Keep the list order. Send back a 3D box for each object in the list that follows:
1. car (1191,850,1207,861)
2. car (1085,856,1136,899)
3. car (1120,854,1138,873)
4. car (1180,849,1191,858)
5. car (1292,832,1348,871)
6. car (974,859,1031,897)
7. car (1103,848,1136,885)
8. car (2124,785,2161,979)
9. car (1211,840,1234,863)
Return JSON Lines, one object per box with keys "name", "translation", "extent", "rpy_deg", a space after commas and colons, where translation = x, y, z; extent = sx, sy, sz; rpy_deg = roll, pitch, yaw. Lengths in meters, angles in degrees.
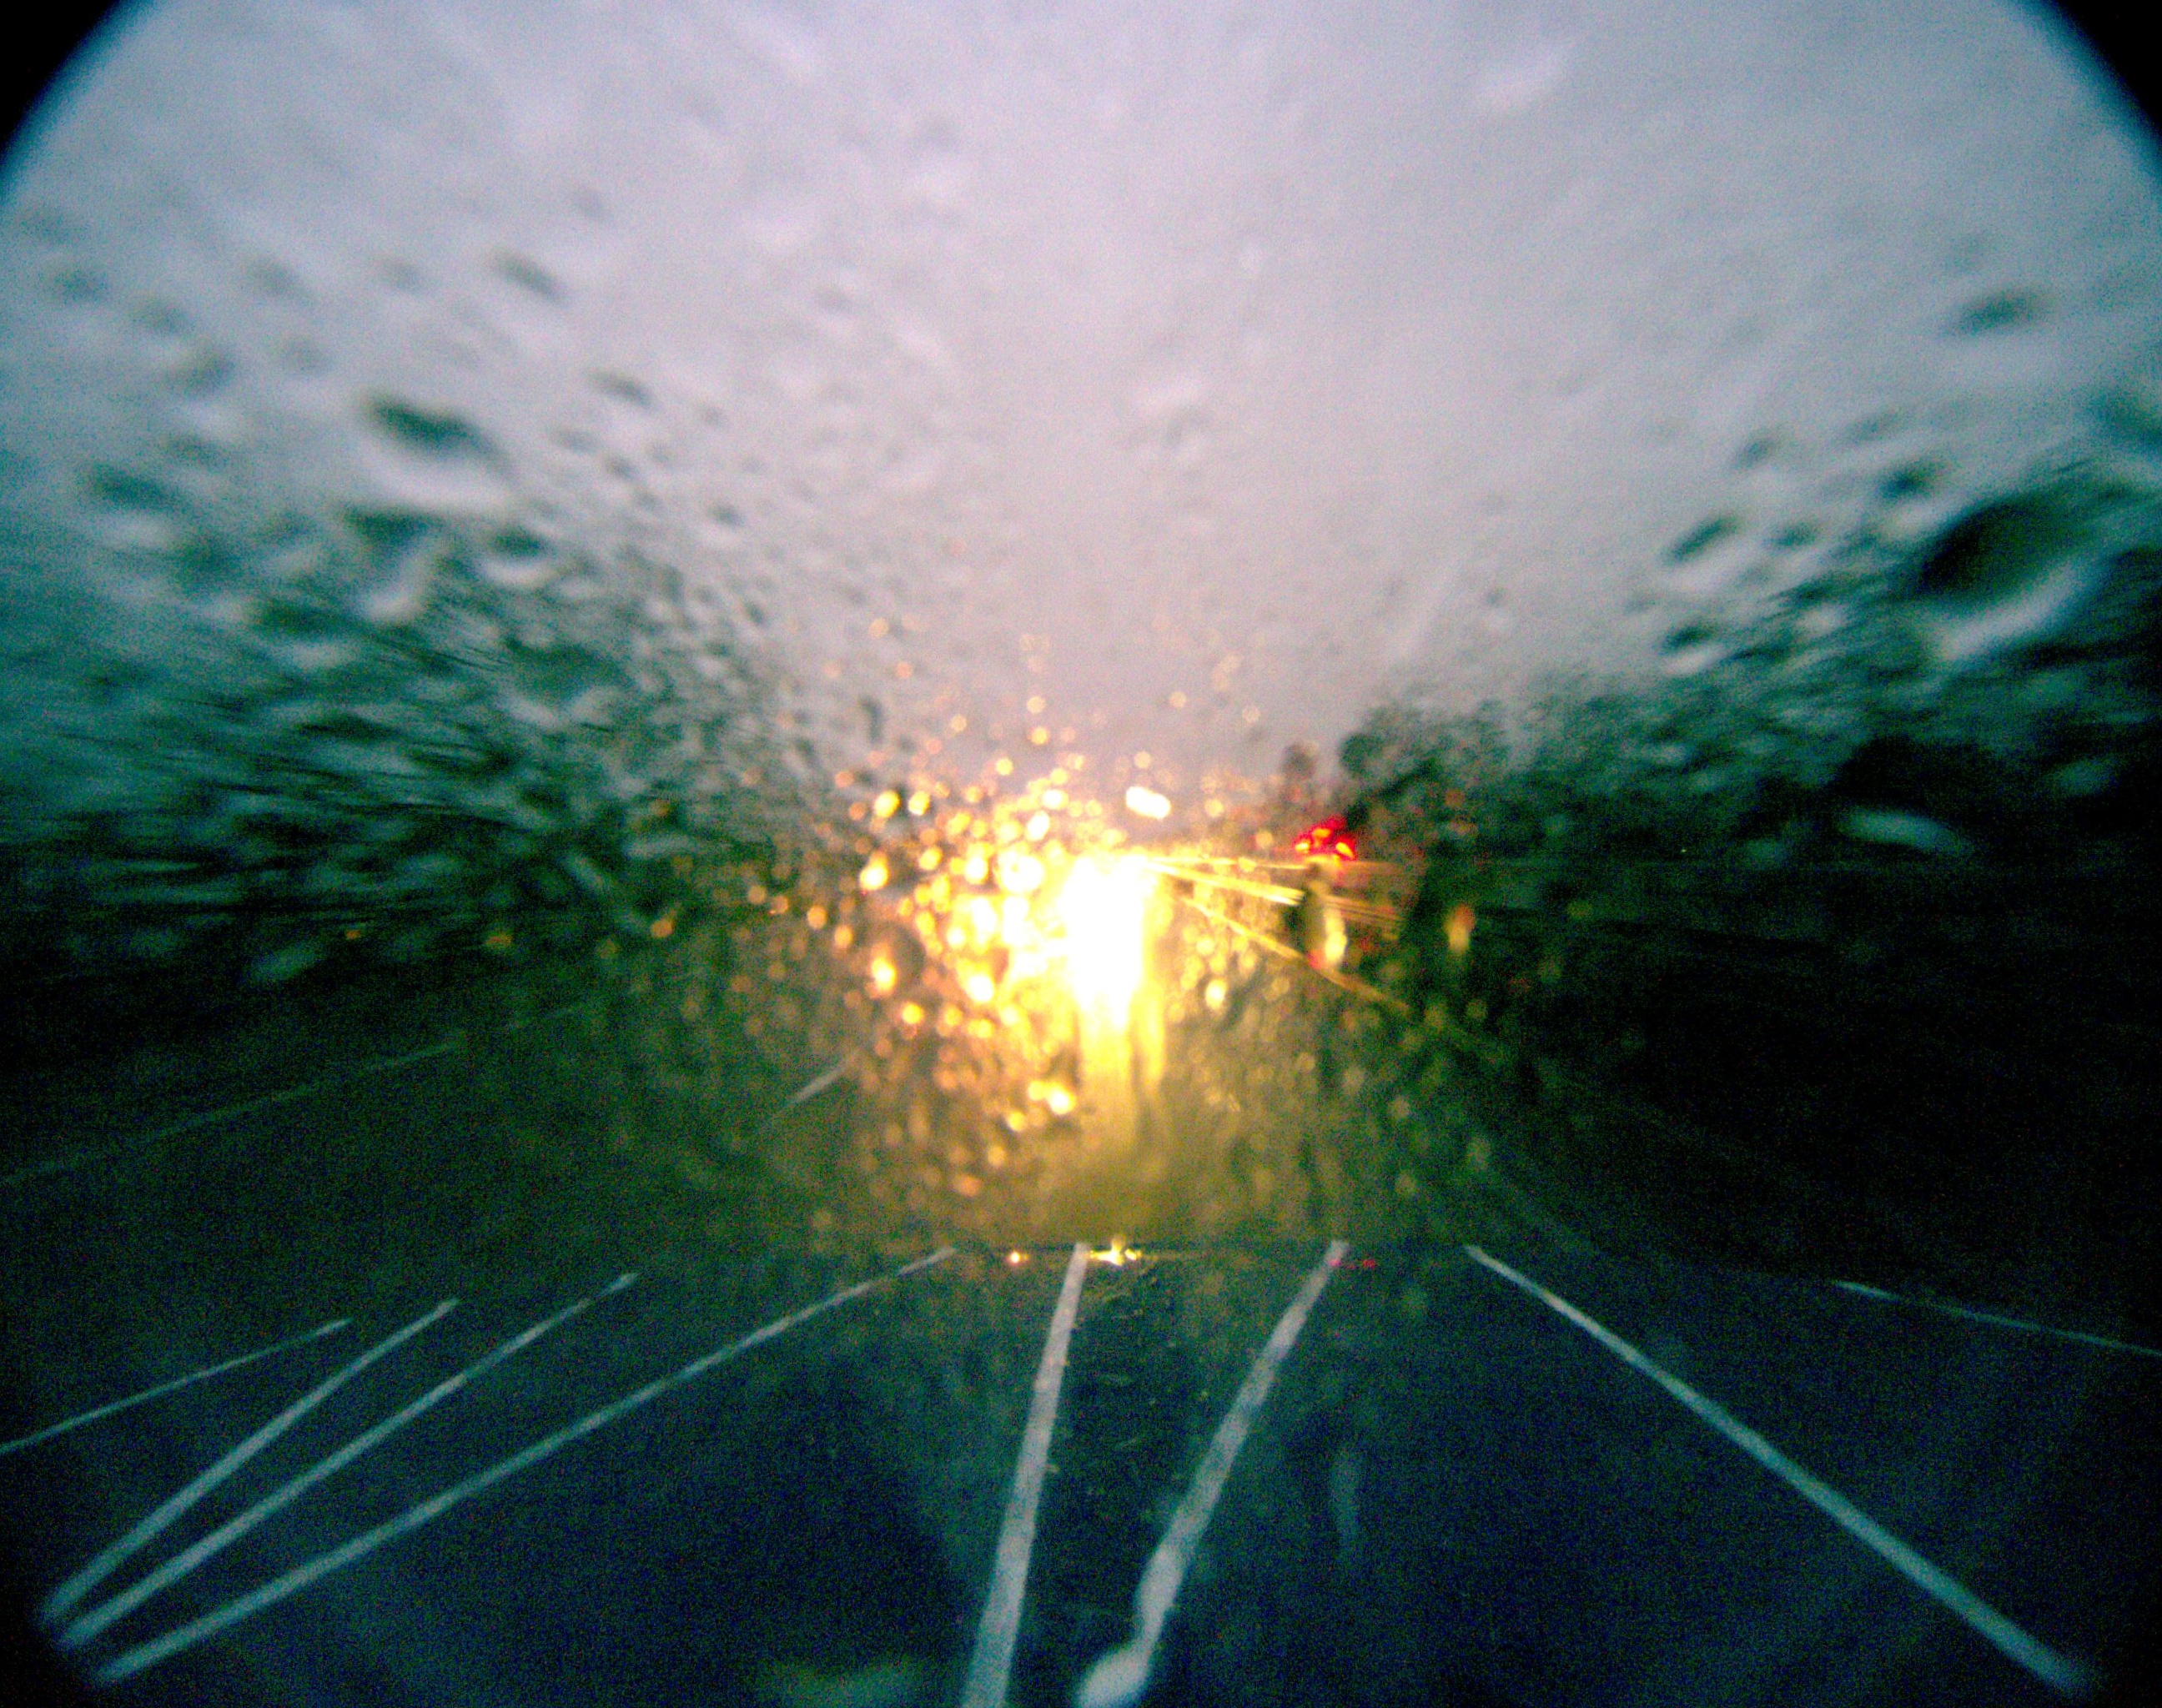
{"name": "car", "translation": [17.565, 0.182, 113.356], "extent": [1.850, 1.520, 4.305], "rpy_deg": [-2, 0, 4]}
{"name": "car", "translation": [1.238, 0.881, 30.376], "extent": [1.850, 1.521, 4.149], "rpy_deg": [-2, 0, 4]}
{"name": "car", "translation": [5.001, 1.012, 79.558], "extent": [1.647, 1.729, 3.533], "rpy_deg": [-4, 2, 1]}
{"name": "car", "translation": [22.095, -0.151, 160.888], "extent": [1.850, 1.903, 4.305], "rpy_deg": [-2, 0, 4]}
{"name": "car", "translation": [13.040, -0.161, 41.727], "extent": [1.939, 1.962, 4.537], "rpy_deg": [-2, 1, 4]}
{"name": "car", "translation": [-3.461, 1.034, 34.334], "extent": [1.850, 1.521, 4.149], "rpy_deg": [-2, 0, 4]}
{"name": "car", "translation": [2.420, 0.747, 48.603], "extent": [1.795, 2.002, 3.724], "rpy_deg": [-5, 2, 0]}
{"name": "car", "translation": [10.967, 0.297, 5.286], "extent": [1.749, 1.823, 4.135], "rpy_deg": [-1, 1, 2]}
{"name": "car", "translation": [15.643, -0.233, 84.135], "extent": [1.850, 2.422, 5.417], "rpy_deg": [-2, 0, 4]}
